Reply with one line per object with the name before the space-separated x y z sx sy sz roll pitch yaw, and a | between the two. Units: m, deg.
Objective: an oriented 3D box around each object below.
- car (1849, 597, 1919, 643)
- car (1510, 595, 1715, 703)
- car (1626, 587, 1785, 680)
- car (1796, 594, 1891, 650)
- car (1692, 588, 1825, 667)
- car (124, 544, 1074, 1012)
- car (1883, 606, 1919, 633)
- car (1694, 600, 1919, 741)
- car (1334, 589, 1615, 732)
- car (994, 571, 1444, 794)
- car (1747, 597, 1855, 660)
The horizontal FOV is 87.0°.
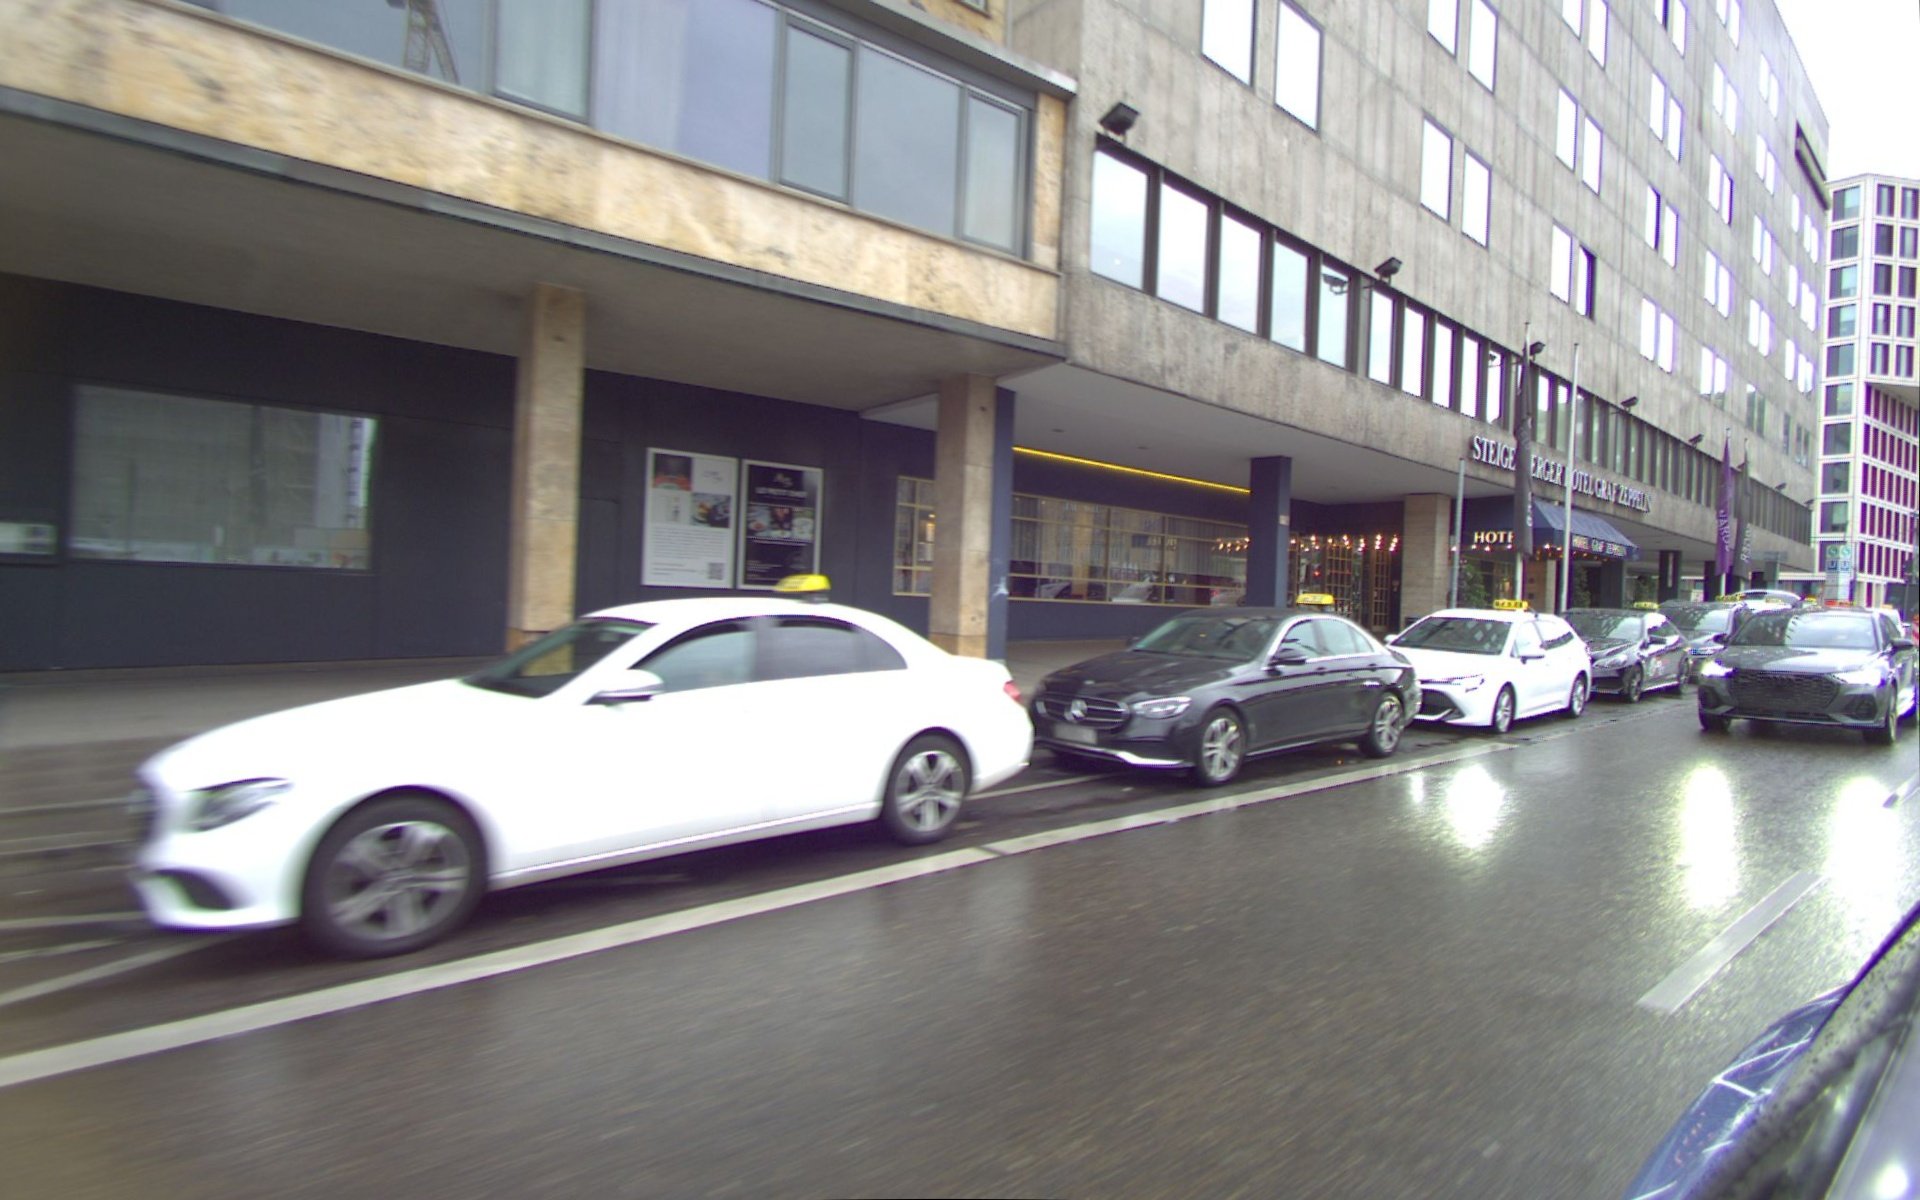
car | 35.207 0.725 38.376 3.931 1.634 1.729 0 0 -41
car | 11.305 0.726 17.382 4.730 1.612 1.729 0 0 -41
car | 15.843 0.628 21.409 4.730 1.764 1.729 0 0 -41
car | 27.641 0.626 31.624 3.931 1.634 1.729 0 0 -41
car | 19.641 0.610 24.824 4.730 1.764 1.729 0 0 -41
car | -1.686 0.619 5.928 4.924 1.658 1.878 0 0 -41
car | 54.688 1.114 57.048 1.837 1.488 3.993 0 0 6
car | 11.277 0.769 13.138 4.266 1.520 1.882 0 0 -40
car | 7.032 0.667 13.589 4.730 1.612 1.729 0 0 -41
car | 2.689 0.598 9.783 4.730 1.658 1.878 0 0 -41
car | 23.664 0.744 28.443 3.931 1.634 1.729 0 0 -41
